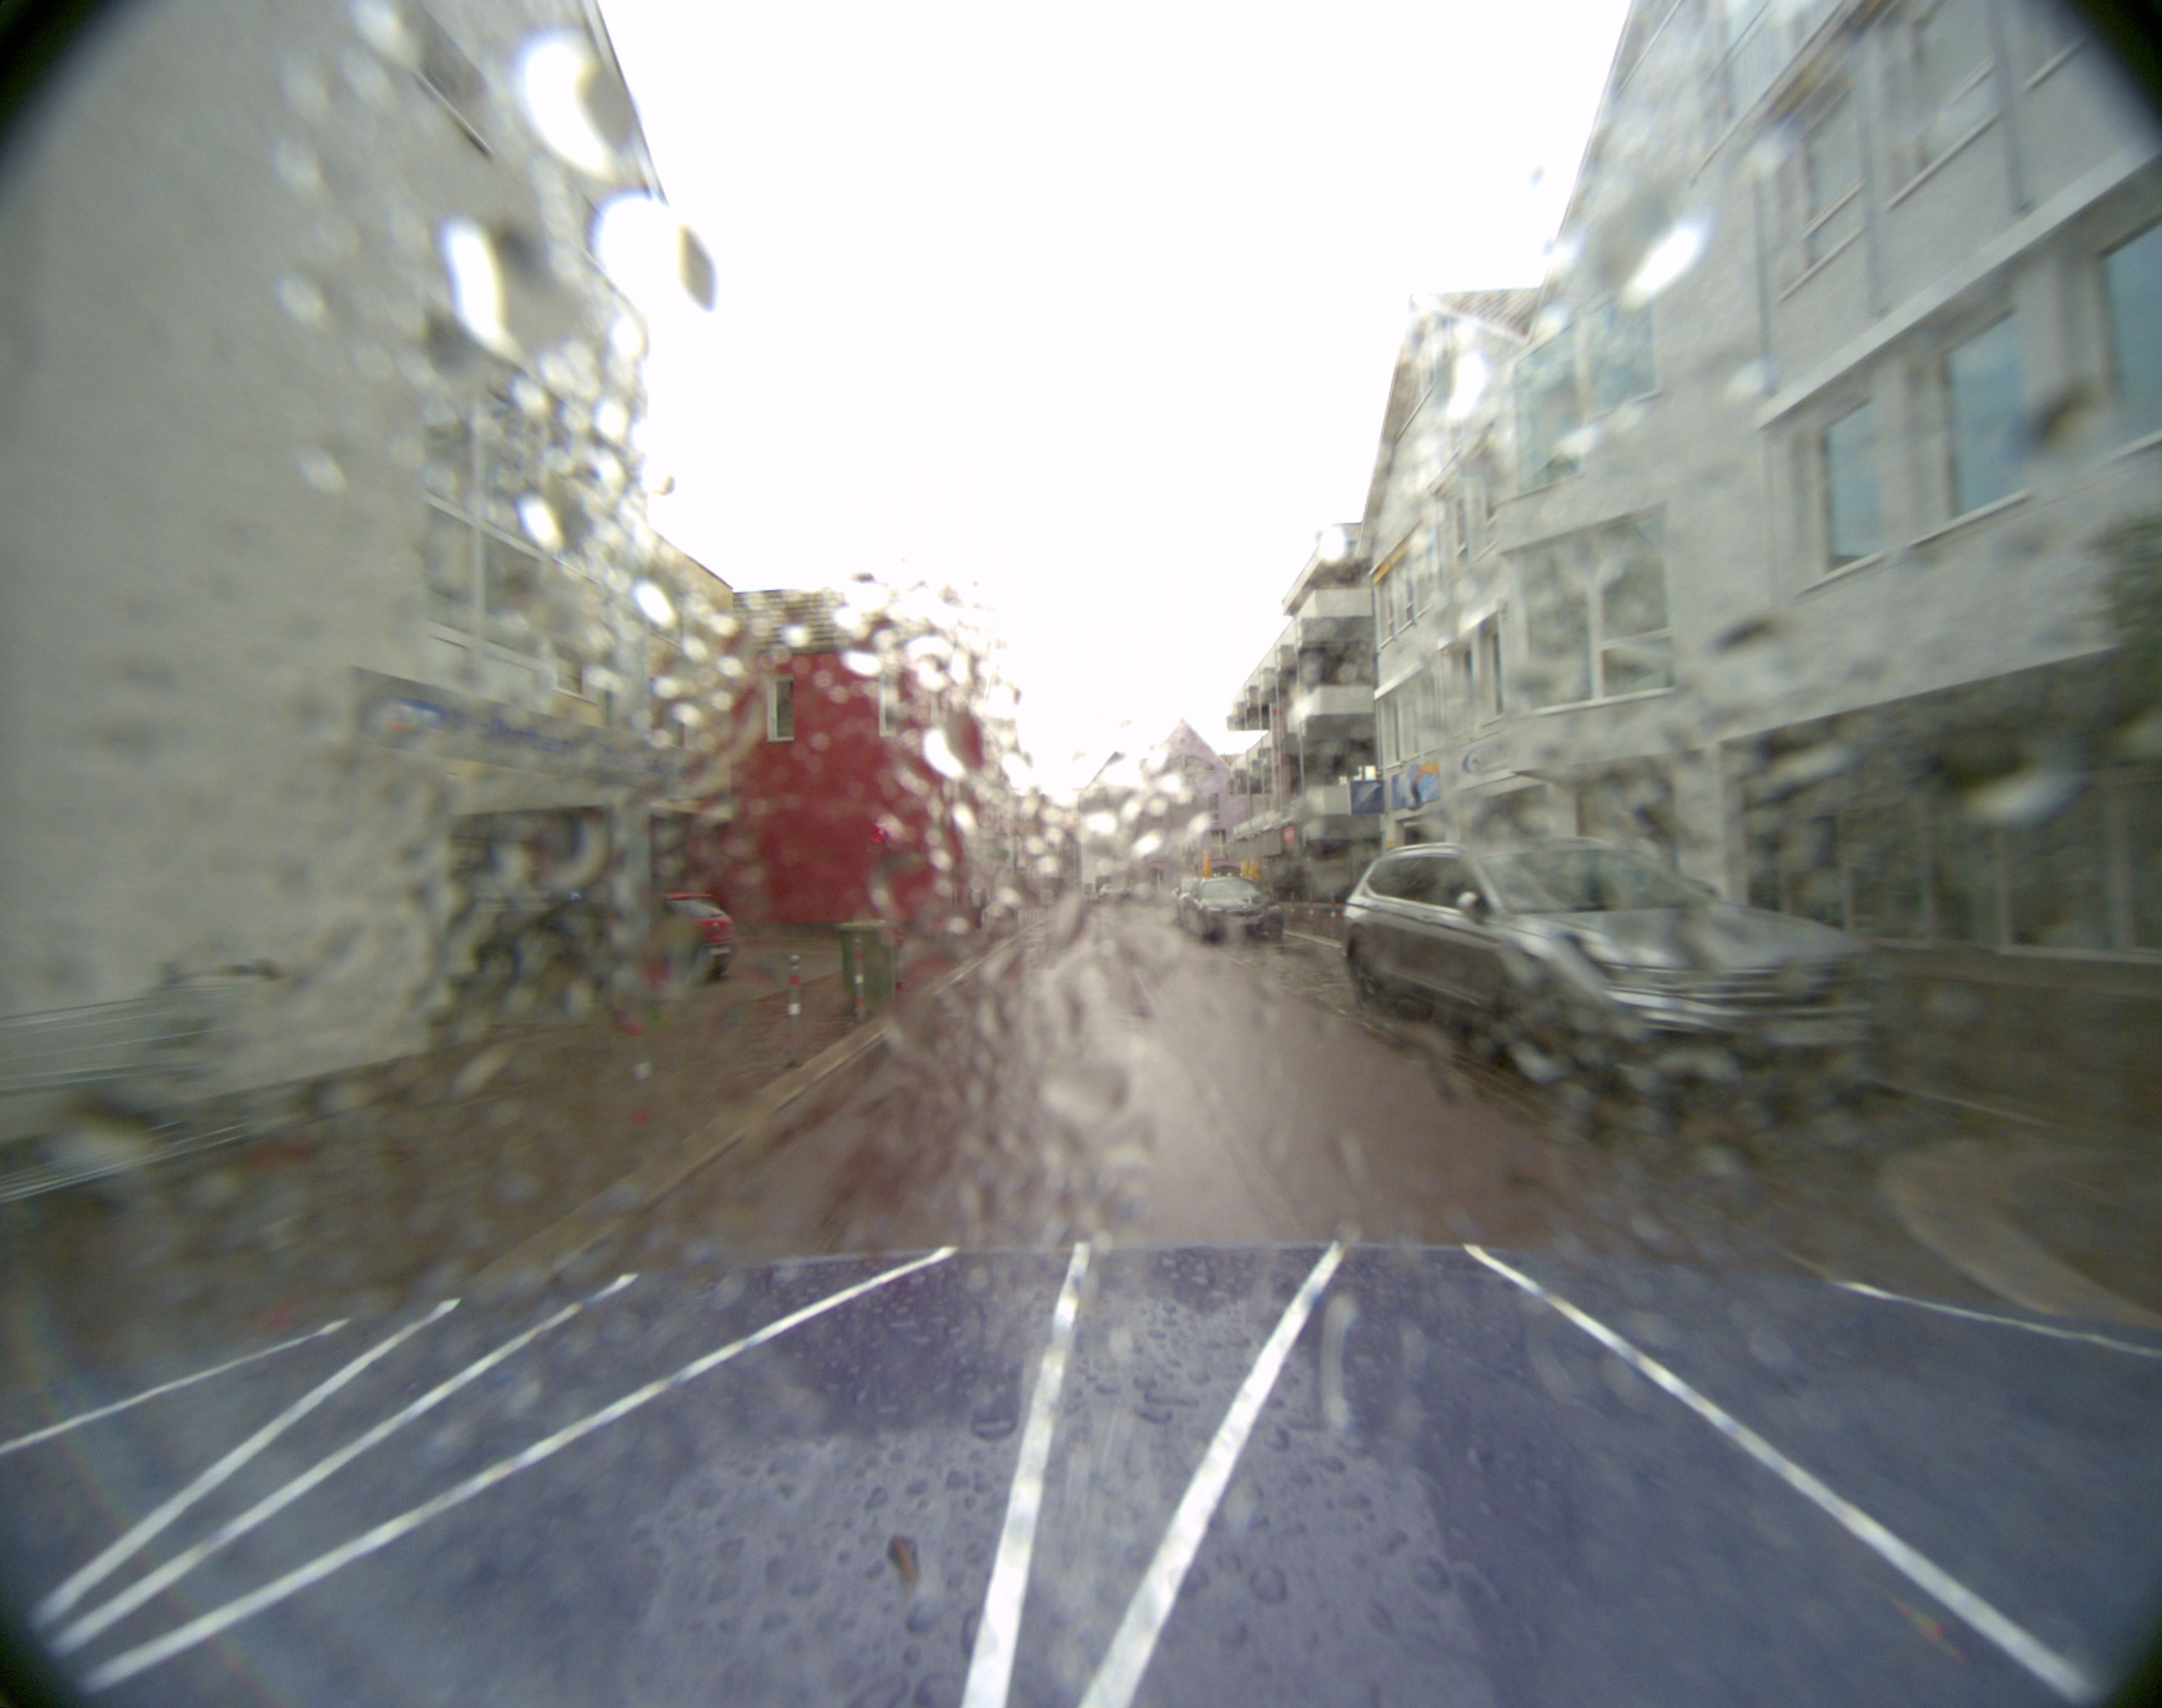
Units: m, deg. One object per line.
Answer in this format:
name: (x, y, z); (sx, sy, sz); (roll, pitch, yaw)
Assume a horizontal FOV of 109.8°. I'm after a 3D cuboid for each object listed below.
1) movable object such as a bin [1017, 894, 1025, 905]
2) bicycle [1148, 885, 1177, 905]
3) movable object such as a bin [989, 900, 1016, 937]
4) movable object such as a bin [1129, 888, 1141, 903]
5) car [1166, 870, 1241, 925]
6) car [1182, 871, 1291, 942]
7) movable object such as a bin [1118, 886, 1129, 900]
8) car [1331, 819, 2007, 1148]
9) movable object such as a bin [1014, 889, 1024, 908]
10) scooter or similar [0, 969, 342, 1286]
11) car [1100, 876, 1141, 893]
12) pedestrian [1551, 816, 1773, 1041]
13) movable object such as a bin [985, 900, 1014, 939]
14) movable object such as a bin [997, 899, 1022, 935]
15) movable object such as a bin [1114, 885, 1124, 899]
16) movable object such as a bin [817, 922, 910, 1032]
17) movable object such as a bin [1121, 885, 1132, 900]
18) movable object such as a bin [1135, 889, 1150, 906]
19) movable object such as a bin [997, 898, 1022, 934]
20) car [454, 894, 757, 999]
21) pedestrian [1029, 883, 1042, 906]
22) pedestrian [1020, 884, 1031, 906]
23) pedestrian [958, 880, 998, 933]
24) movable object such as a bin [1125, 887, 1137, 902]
movable object such as a bin: (-4.633, 3.499, 58.570); (0.547, 0.831, 0.910); (1, -2, -5)
bicycle: (5.156, 2.567, 48.073); (1.753, 1.157, 0.443); (-2, 0, -19)
movable object such as a bin: (-2.387, 1.951, 23.088); (0.712, 1.088, 0.614); (-2, -1, 2)
movable object such as a bin: (3.831, 2.932, 53.761); (0.688, 1.070, 0.669); (-2, -1, -8)
car: (3.978, 1.384, 25.269); (1.796, 1.542, 4.000); (-3, 0, 0)
car: (3.643, 1.210, 18.695); (1.835, 1.489, 4.765); (-1, -2, 2)
movable object such as a bin: (3.247, 2.983, 58.591); (0.688, 1.074, 0.669); (-2, -1, -8)
car: (3.633, 0.646, 5.946); (1.784, 1.559, 4.407); (-2, 0, -1)
movable object such as a bin: (-3.509, 2.517, 43.150); (0.502, 1.050, 0.549); (0, 0, 0)
scooter or similar: (-4.826, 1.262, 3.825); (0.666, 1.139, 1.447); (-2, 0, 8)
car: (4.017, 3.094, 77.040); (3.993, 1.574, 1.834); (-2, 0, 8)
pedestrian: (5.095, 0.620, 6.773); (1.038, 1.795, 1.116); (-3, -1, 1)
movable object such as a bin: (-2.391, 1.933, 22.422); (0.731, 1.074, 0.647); (-2, -1, 2)
movable object such as a bin: (-2.239, 1.971, 23.796); (0.678, 1.077, 0.698); (-2, -1, 2)
movable object such as a bin: (3.012, 3.047, 60.239); (0.688, 1.071, 0.677); (-2, -1, -8)
movable object such as a bin: (-2.508, 1.399, 8.853); (0.806, 1.124, 0.862); (-2, 0, -1)
movable object such as a bin: (3.421, 2.943, 57.499); (0.688, 1.098, 0.669); (-2, -1, -8)
movable object such as a bin: (3.819, 2.701, 47.126); (0.689, 1.013, 0.631); (-2, -1, -17)
movable object such as a bin: (-2.299, 1.992, 24.561); (0.678, 1.080, 0.718); (-2, -1, 2)
car: (-7.746, 1.436, 12.550); (3.993, 1.505, 1.914); (-1, -1, 11)
pedestrian: (-3.869, 3.456, 64.457); (0.775, 1.893, 0.804); (-2, 0, -26)
pedestrian: (-4.713, 3.473, 64.453); (0.656, 1.891, 0.658); (1, -1, -25)
pedestrian: (-3.355, 1.707, 24.952); (1.180, 1.687, 1.177); (0, -1, -2)
movable object such as a bin: (3.660, 2.969, 55.548); (0.688, 1.067, 0.669); (-2, -1, -8)
